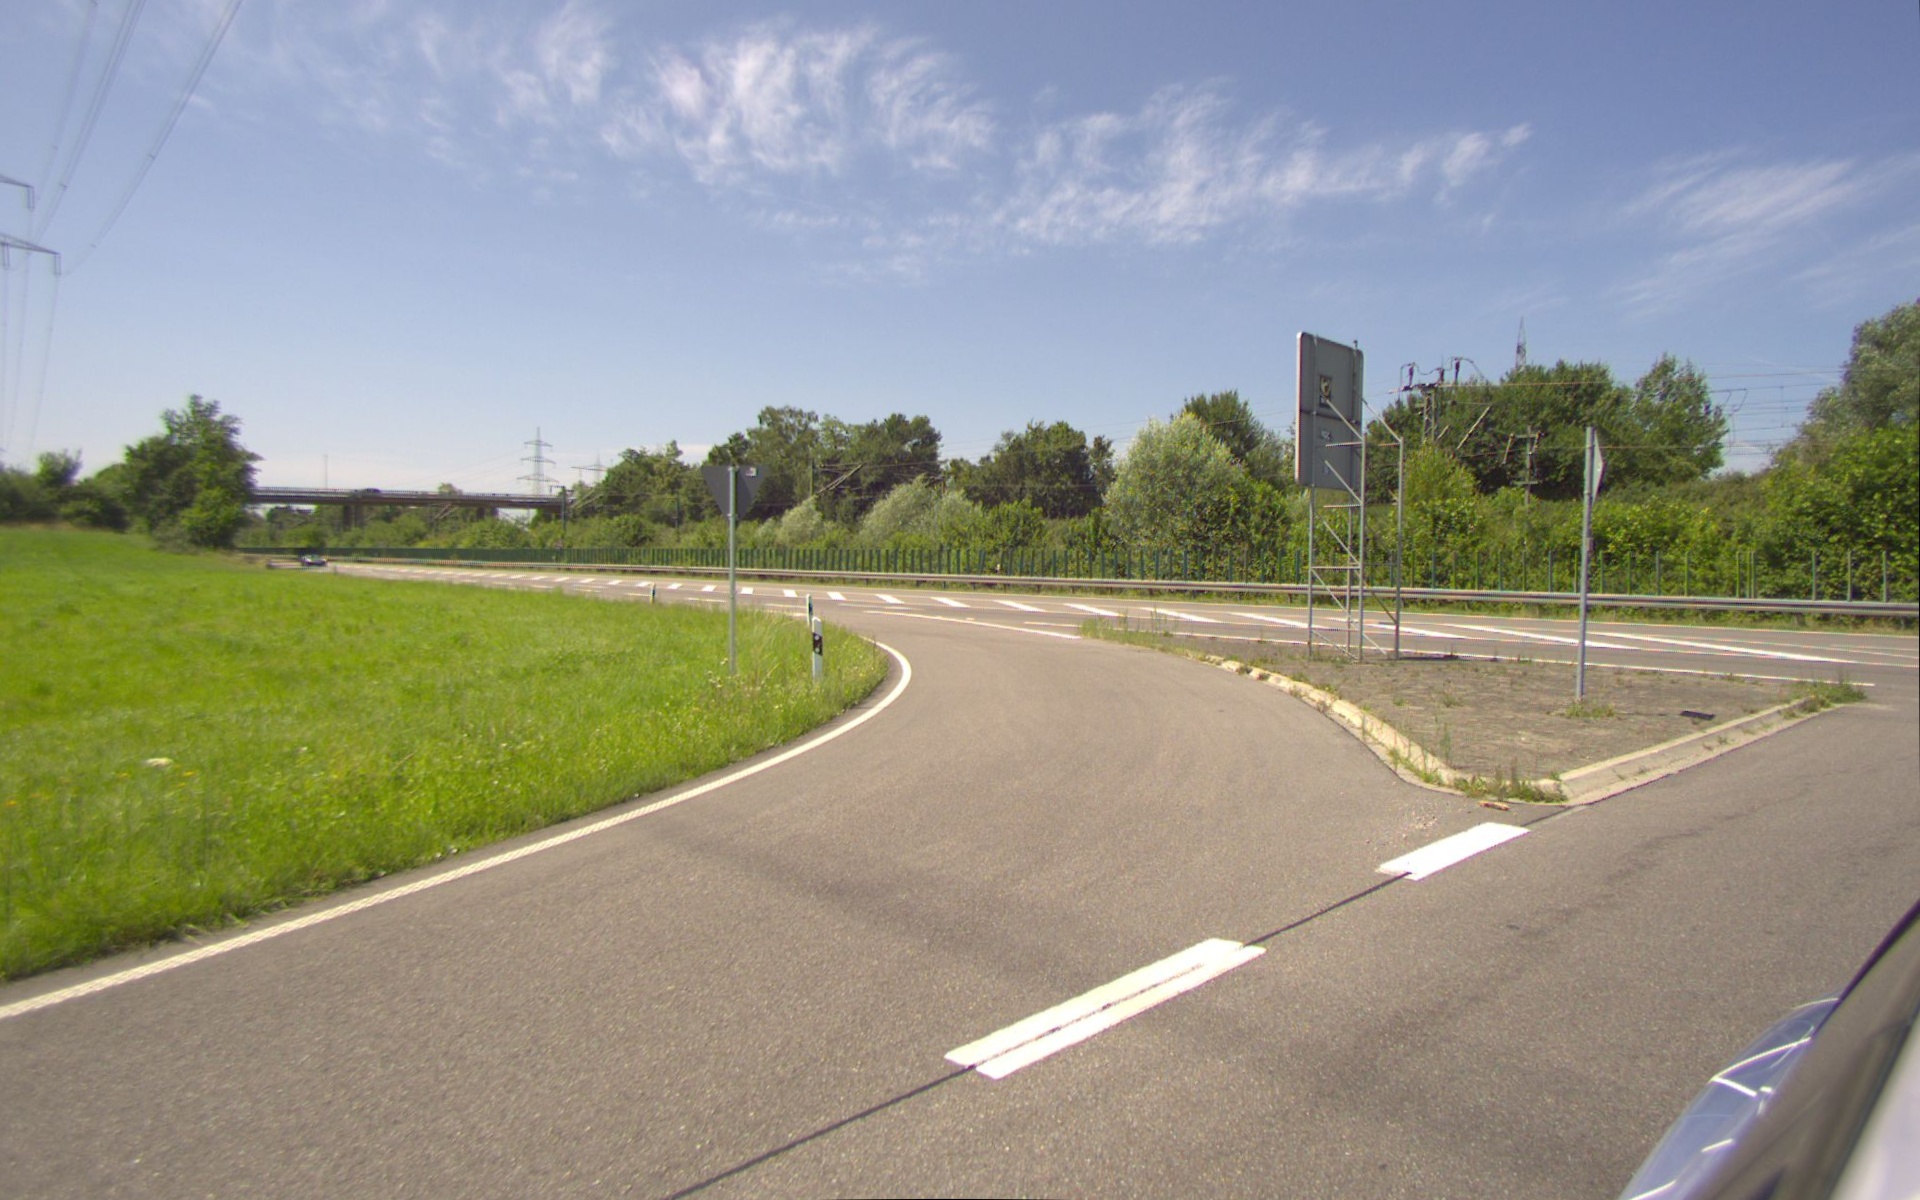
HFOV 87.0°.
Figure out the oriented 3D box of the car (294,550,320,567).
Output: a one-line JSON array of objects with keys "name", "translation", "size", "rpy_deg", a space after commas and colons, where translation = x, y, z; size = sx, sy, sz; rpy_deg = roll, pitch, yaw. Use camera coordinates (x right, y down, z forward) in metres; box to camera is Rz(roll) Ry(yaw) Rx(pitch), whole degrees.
[{"name": "car", "translation": [-68.336, -4.323, 105.860], "size": [1.695, 1.745, 3.994], "rpy_deg": [-1, 3, -42]}]
